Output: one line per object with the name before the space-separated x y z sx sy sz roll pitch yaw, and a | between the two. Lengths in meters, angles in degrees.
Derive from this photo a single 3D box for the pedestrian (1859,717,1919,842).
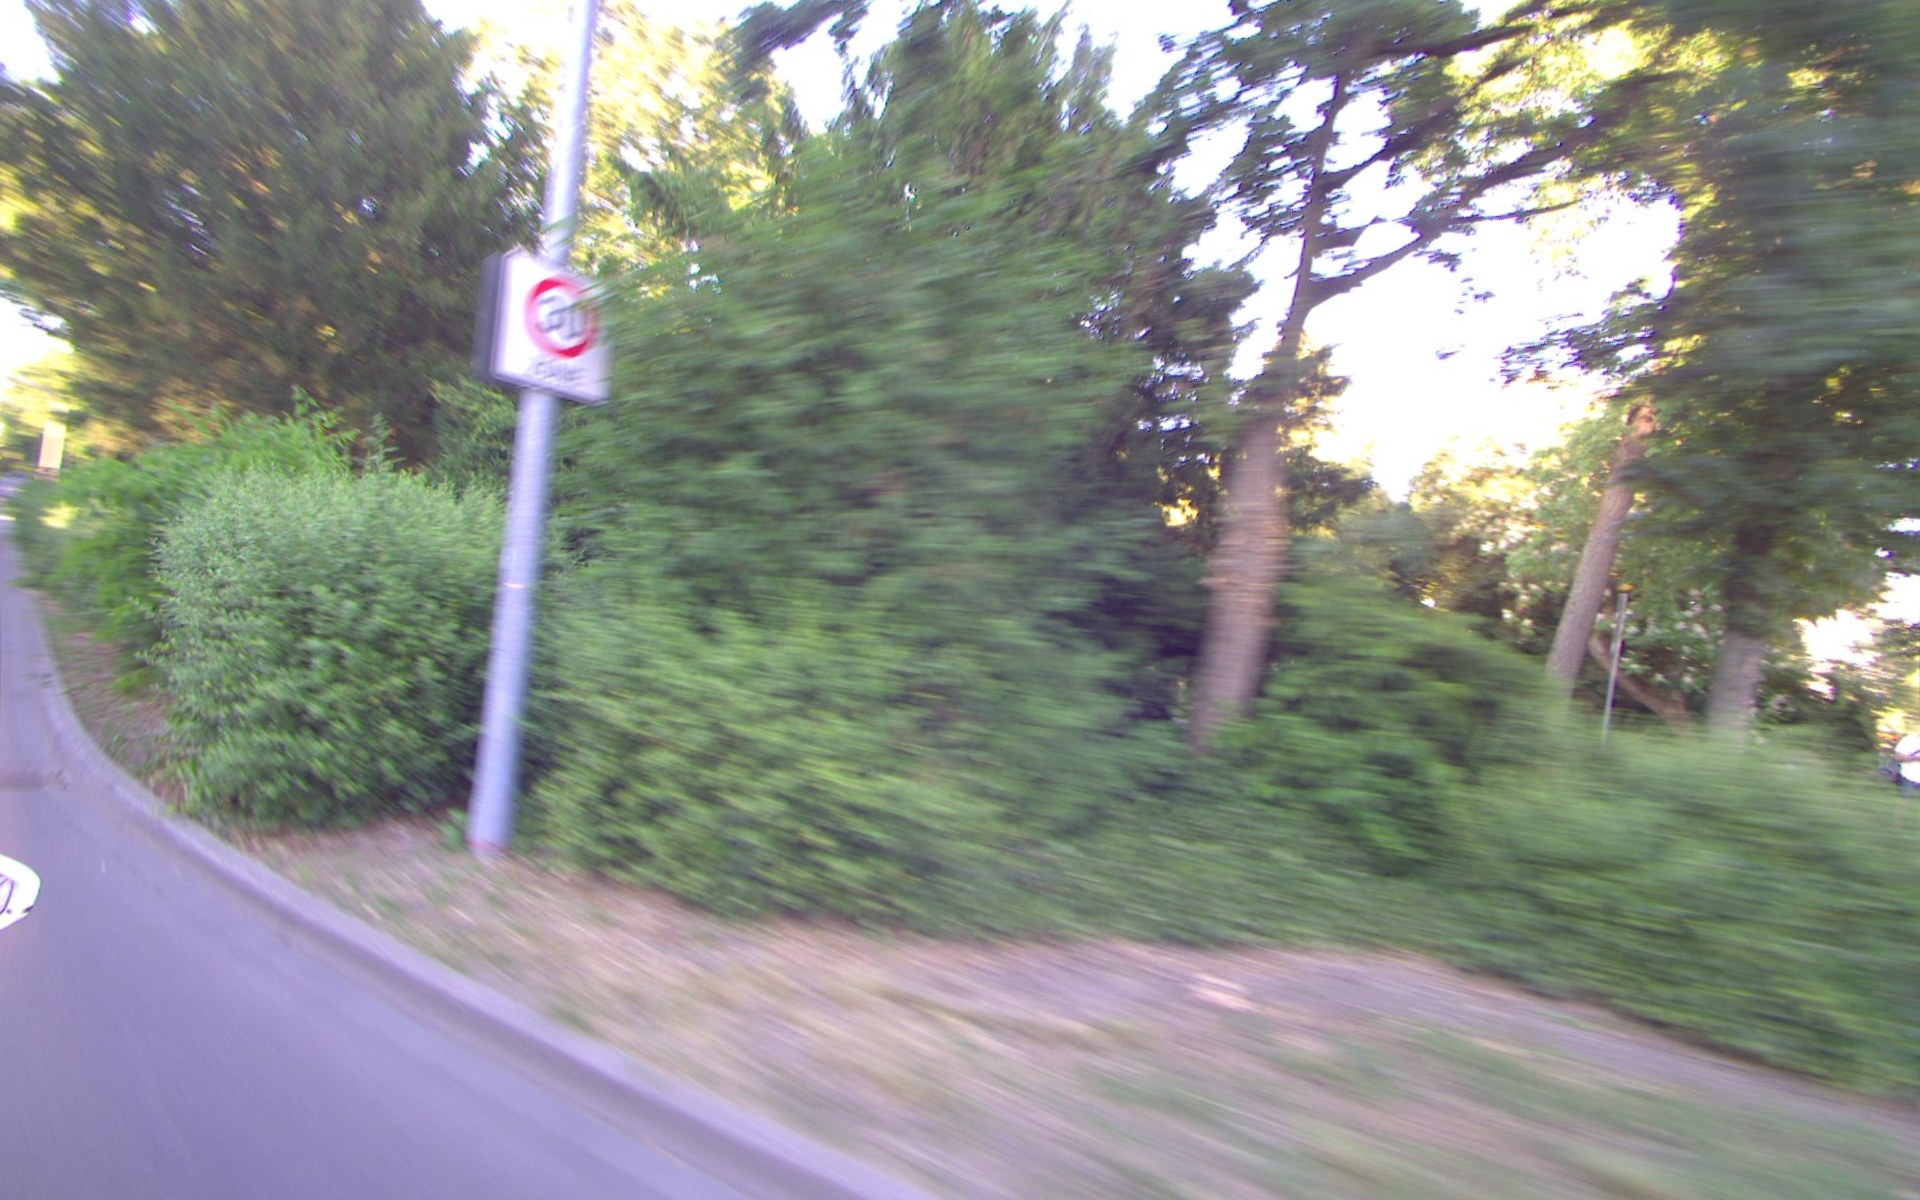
pedestrian | 14.545 2.743 15.321 0.733 1.775 0.966 7 -1 12
